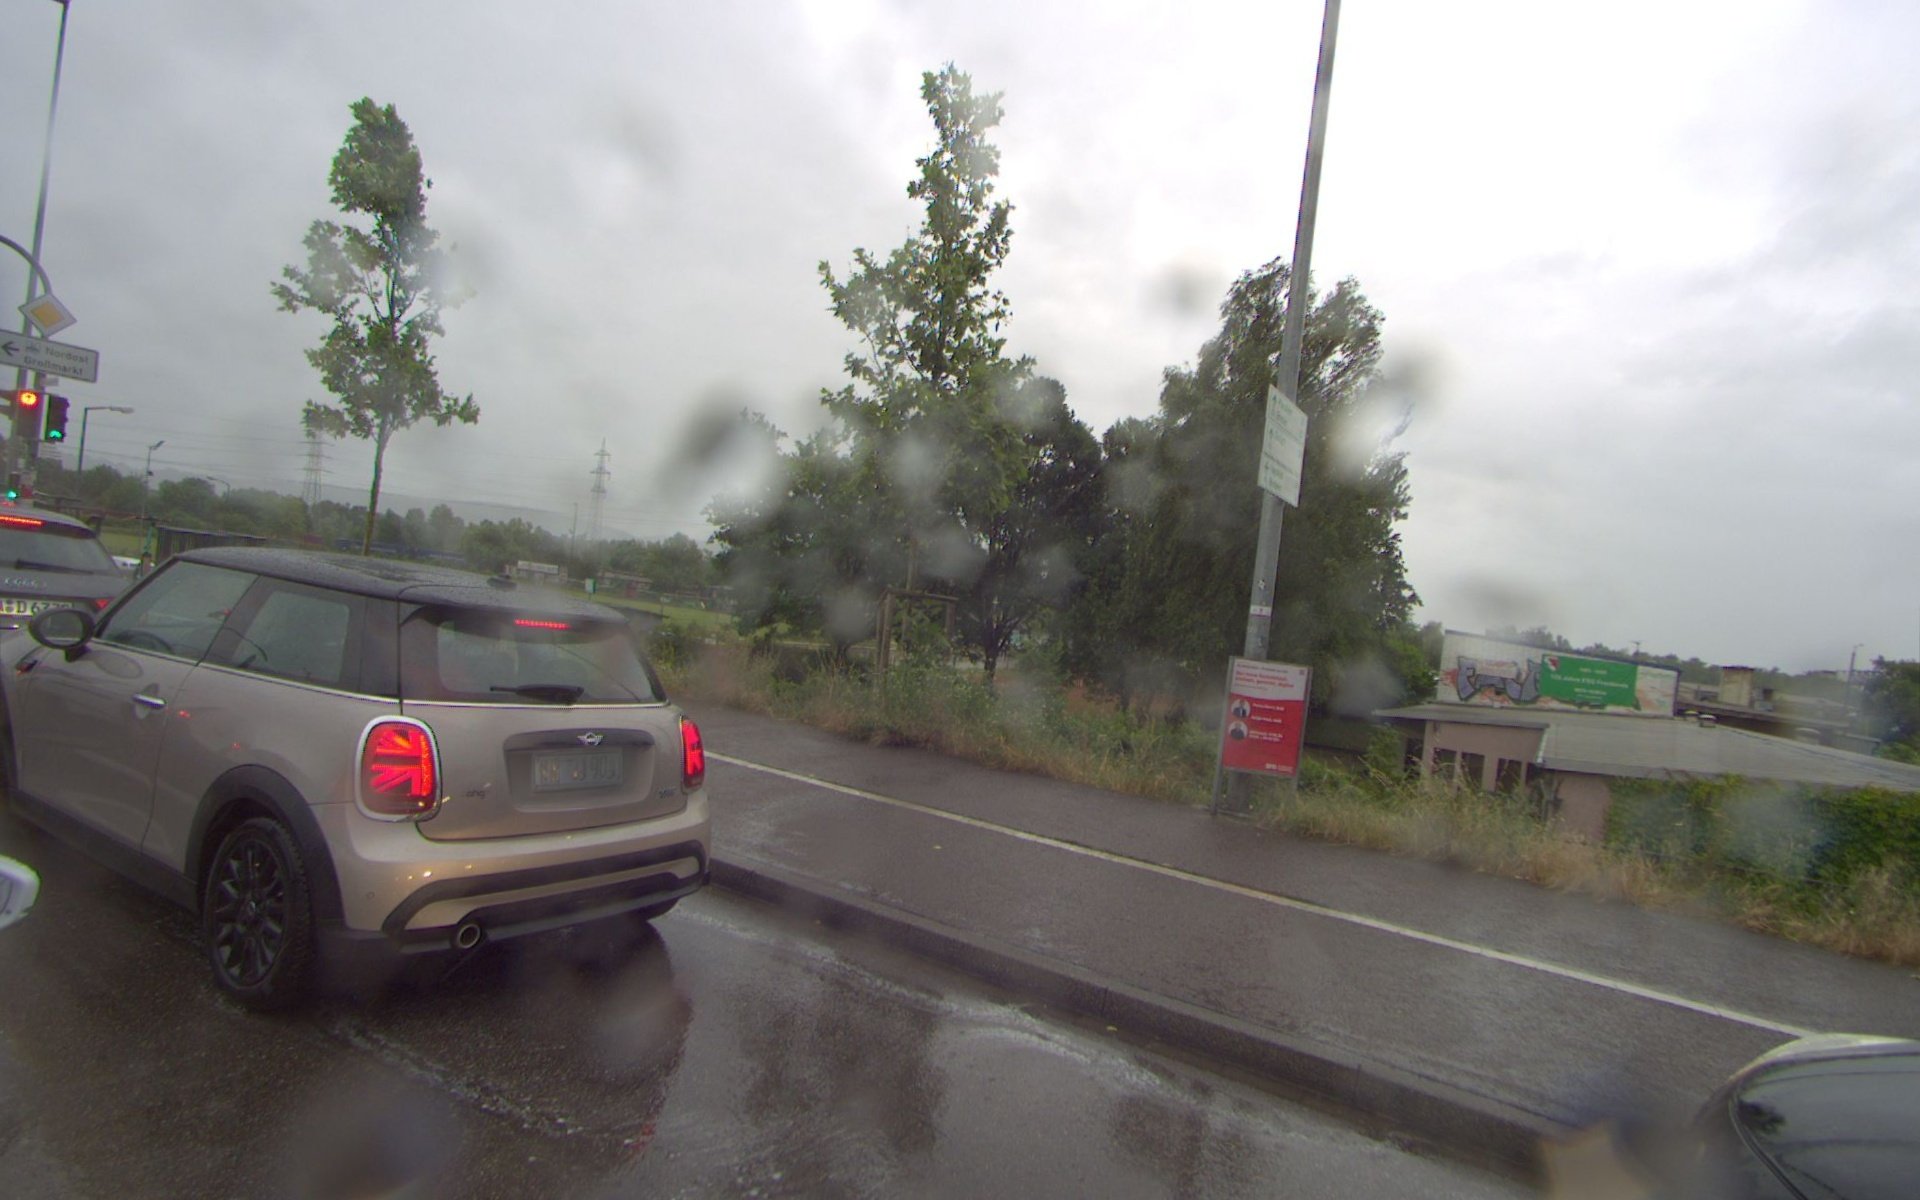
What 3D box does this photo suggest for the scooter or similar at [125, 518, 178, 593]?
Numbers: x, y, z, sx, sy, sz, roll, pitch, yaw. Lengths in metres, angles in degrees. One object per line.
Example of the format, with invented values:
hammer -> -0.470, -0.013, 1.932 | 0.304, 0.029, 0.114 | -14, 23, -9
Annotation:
scooter or similar -> -13.703, -0.767, 17.043 | 1.167, 1.171, 0.246 | 6, -1, 33

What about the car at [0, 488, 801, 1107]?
car -> -2.697, 0.492, 4.329 | 3.563, 1.525, 1.717 | 7, -2, 31

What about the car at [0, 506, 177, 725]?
car -> -7.484, -0.060, 7.240 | 3.563, 1.360, 1.632 | 6, -2, 31

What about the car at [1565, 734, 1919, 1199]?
car -> 2.788, 1.183, 1.050 | 3.563, 1.445, 1.632 | 7, -1, 31
